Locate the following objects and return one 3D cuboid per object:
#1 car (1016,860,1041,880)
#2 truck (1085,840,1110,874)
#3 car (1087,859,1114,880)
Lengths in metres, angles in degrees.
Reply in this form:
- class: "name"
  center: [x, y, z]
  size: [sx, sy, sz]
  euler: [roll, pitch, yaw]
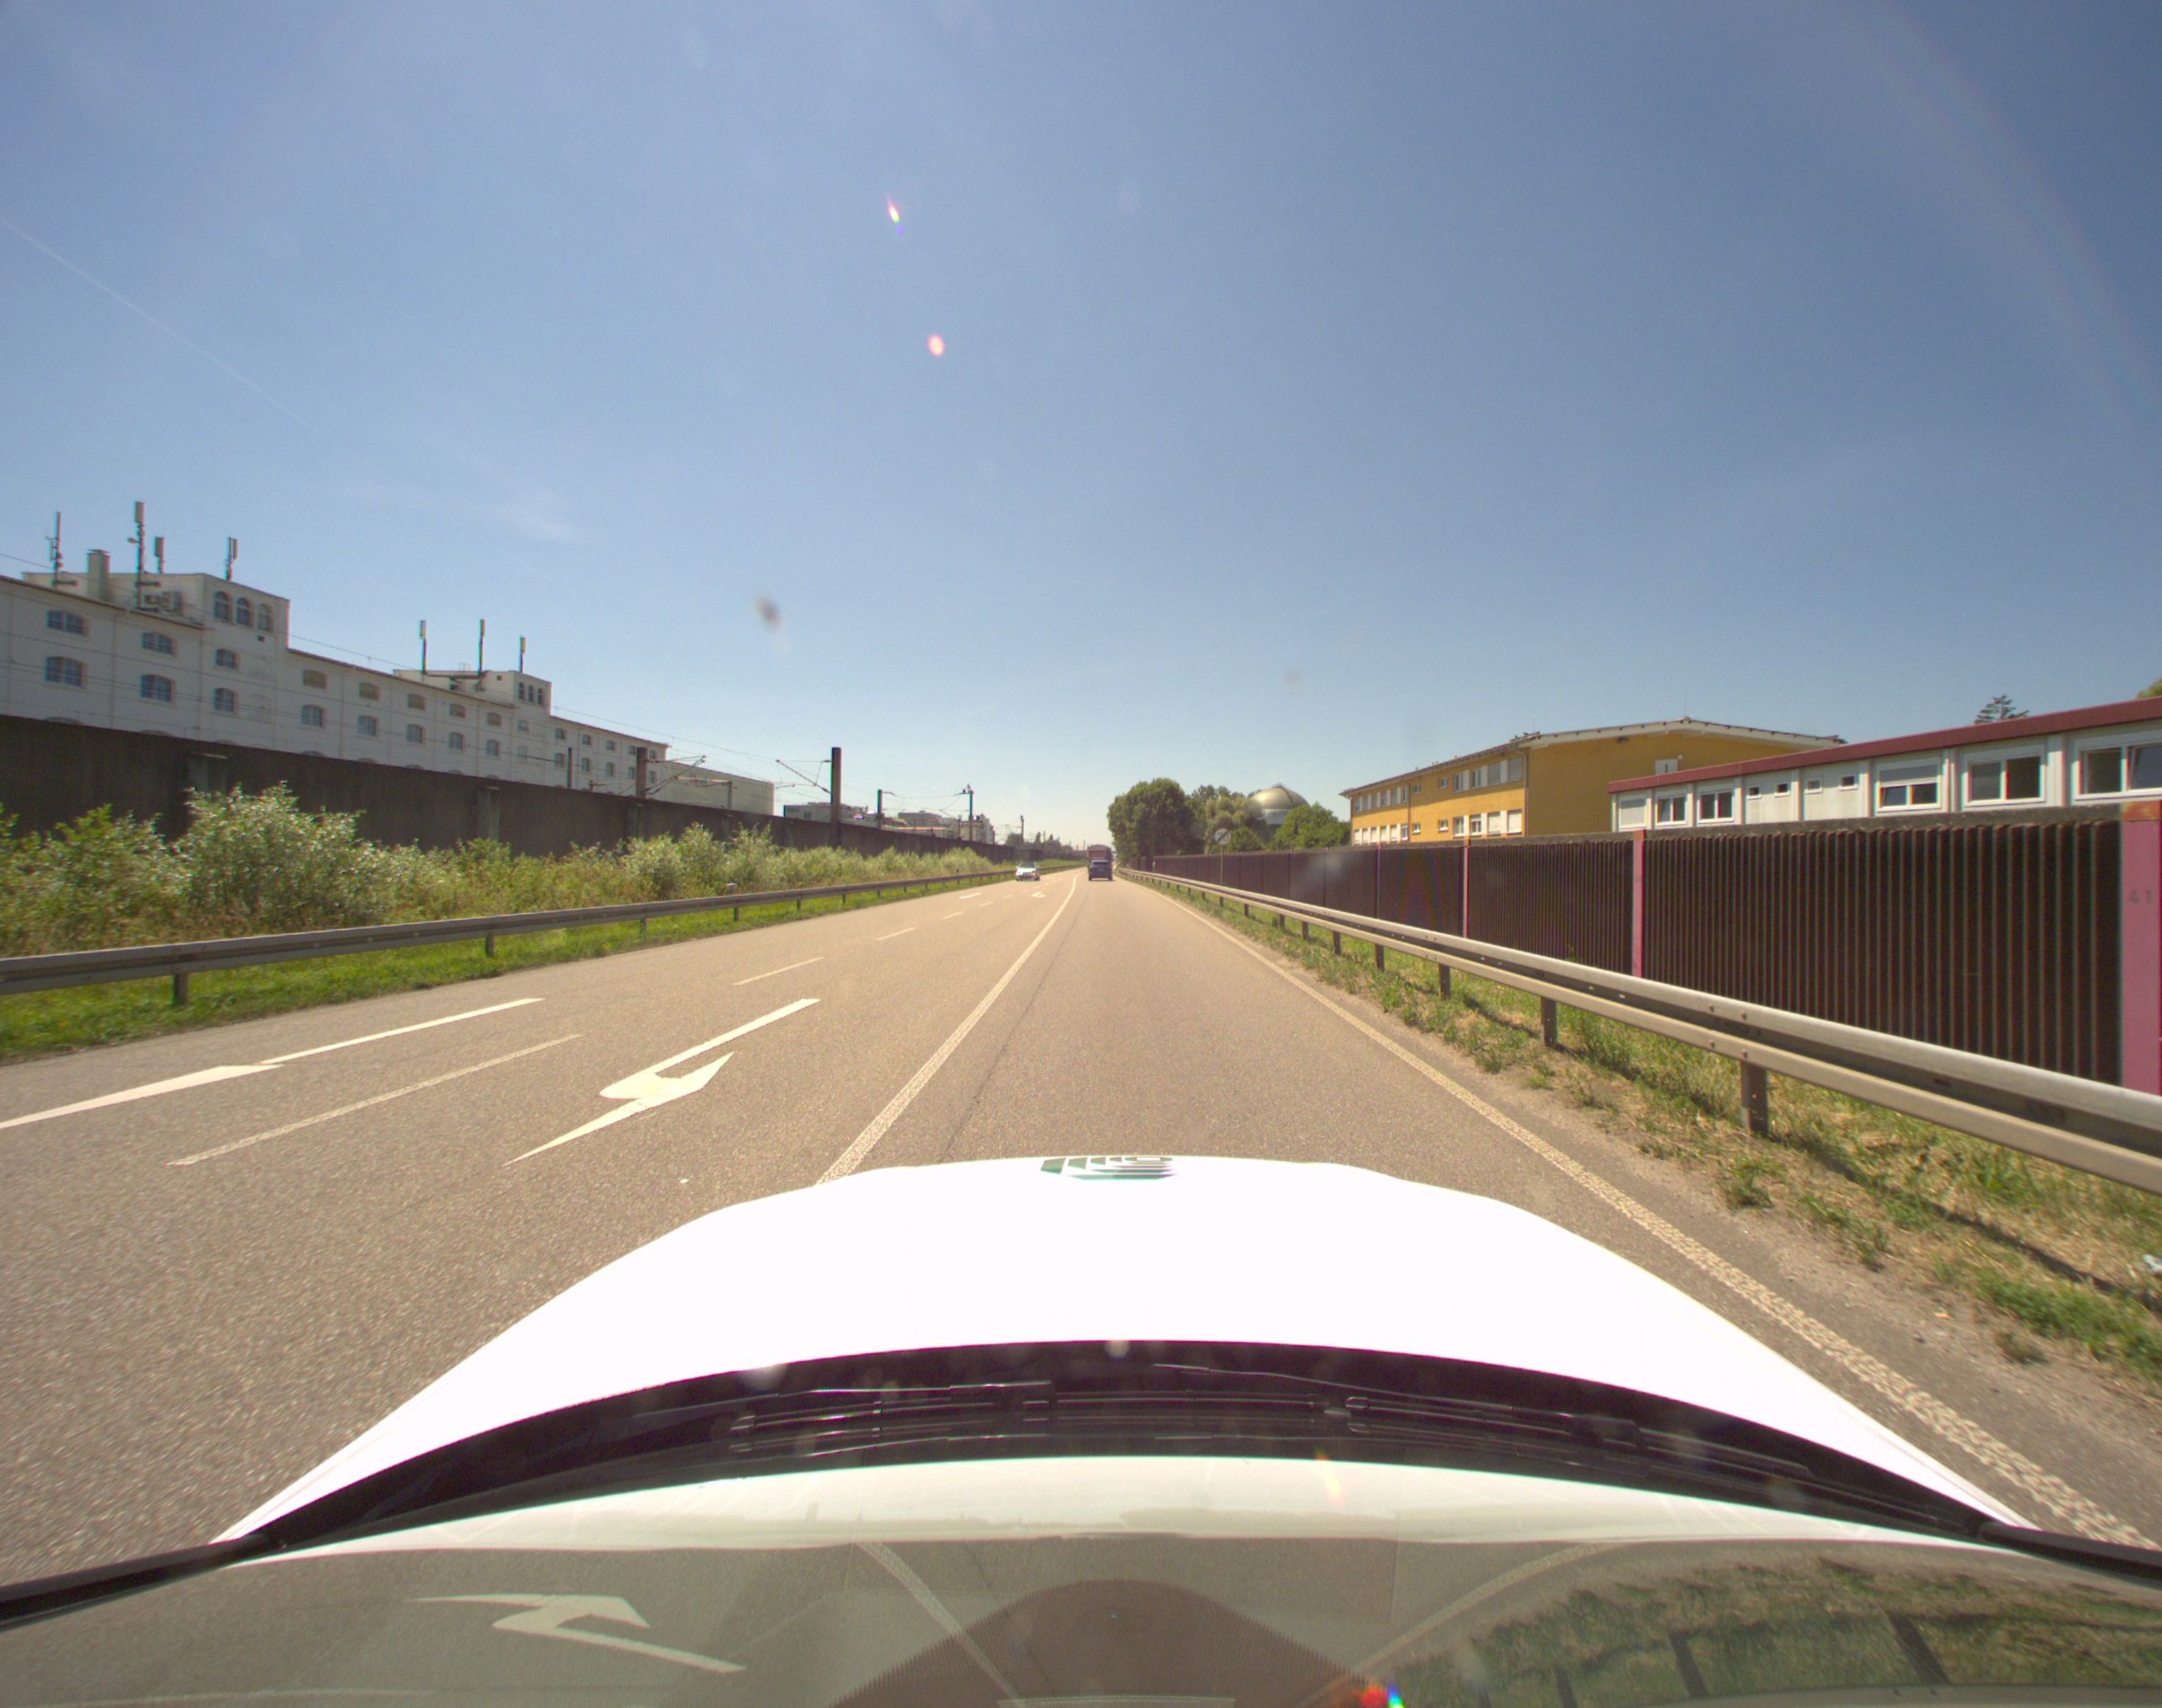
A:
- class: "car"
  center: [-4.098, 1.241, 64.388]
  size: [1.666, 1.502, 3.722]
  euler: [-1, -1, 1]
- class: "truck"
  center: [2.056, 0.513, 105.635]
  size: [2.986, 4.181, 11.806]
  euler: [-1, -1, 1]
- class: "car"
  center: [1.513, 1.235, 62.292]
  size: [1.986, 1.503, 4.001]
  euler: [0, -2, 2]
